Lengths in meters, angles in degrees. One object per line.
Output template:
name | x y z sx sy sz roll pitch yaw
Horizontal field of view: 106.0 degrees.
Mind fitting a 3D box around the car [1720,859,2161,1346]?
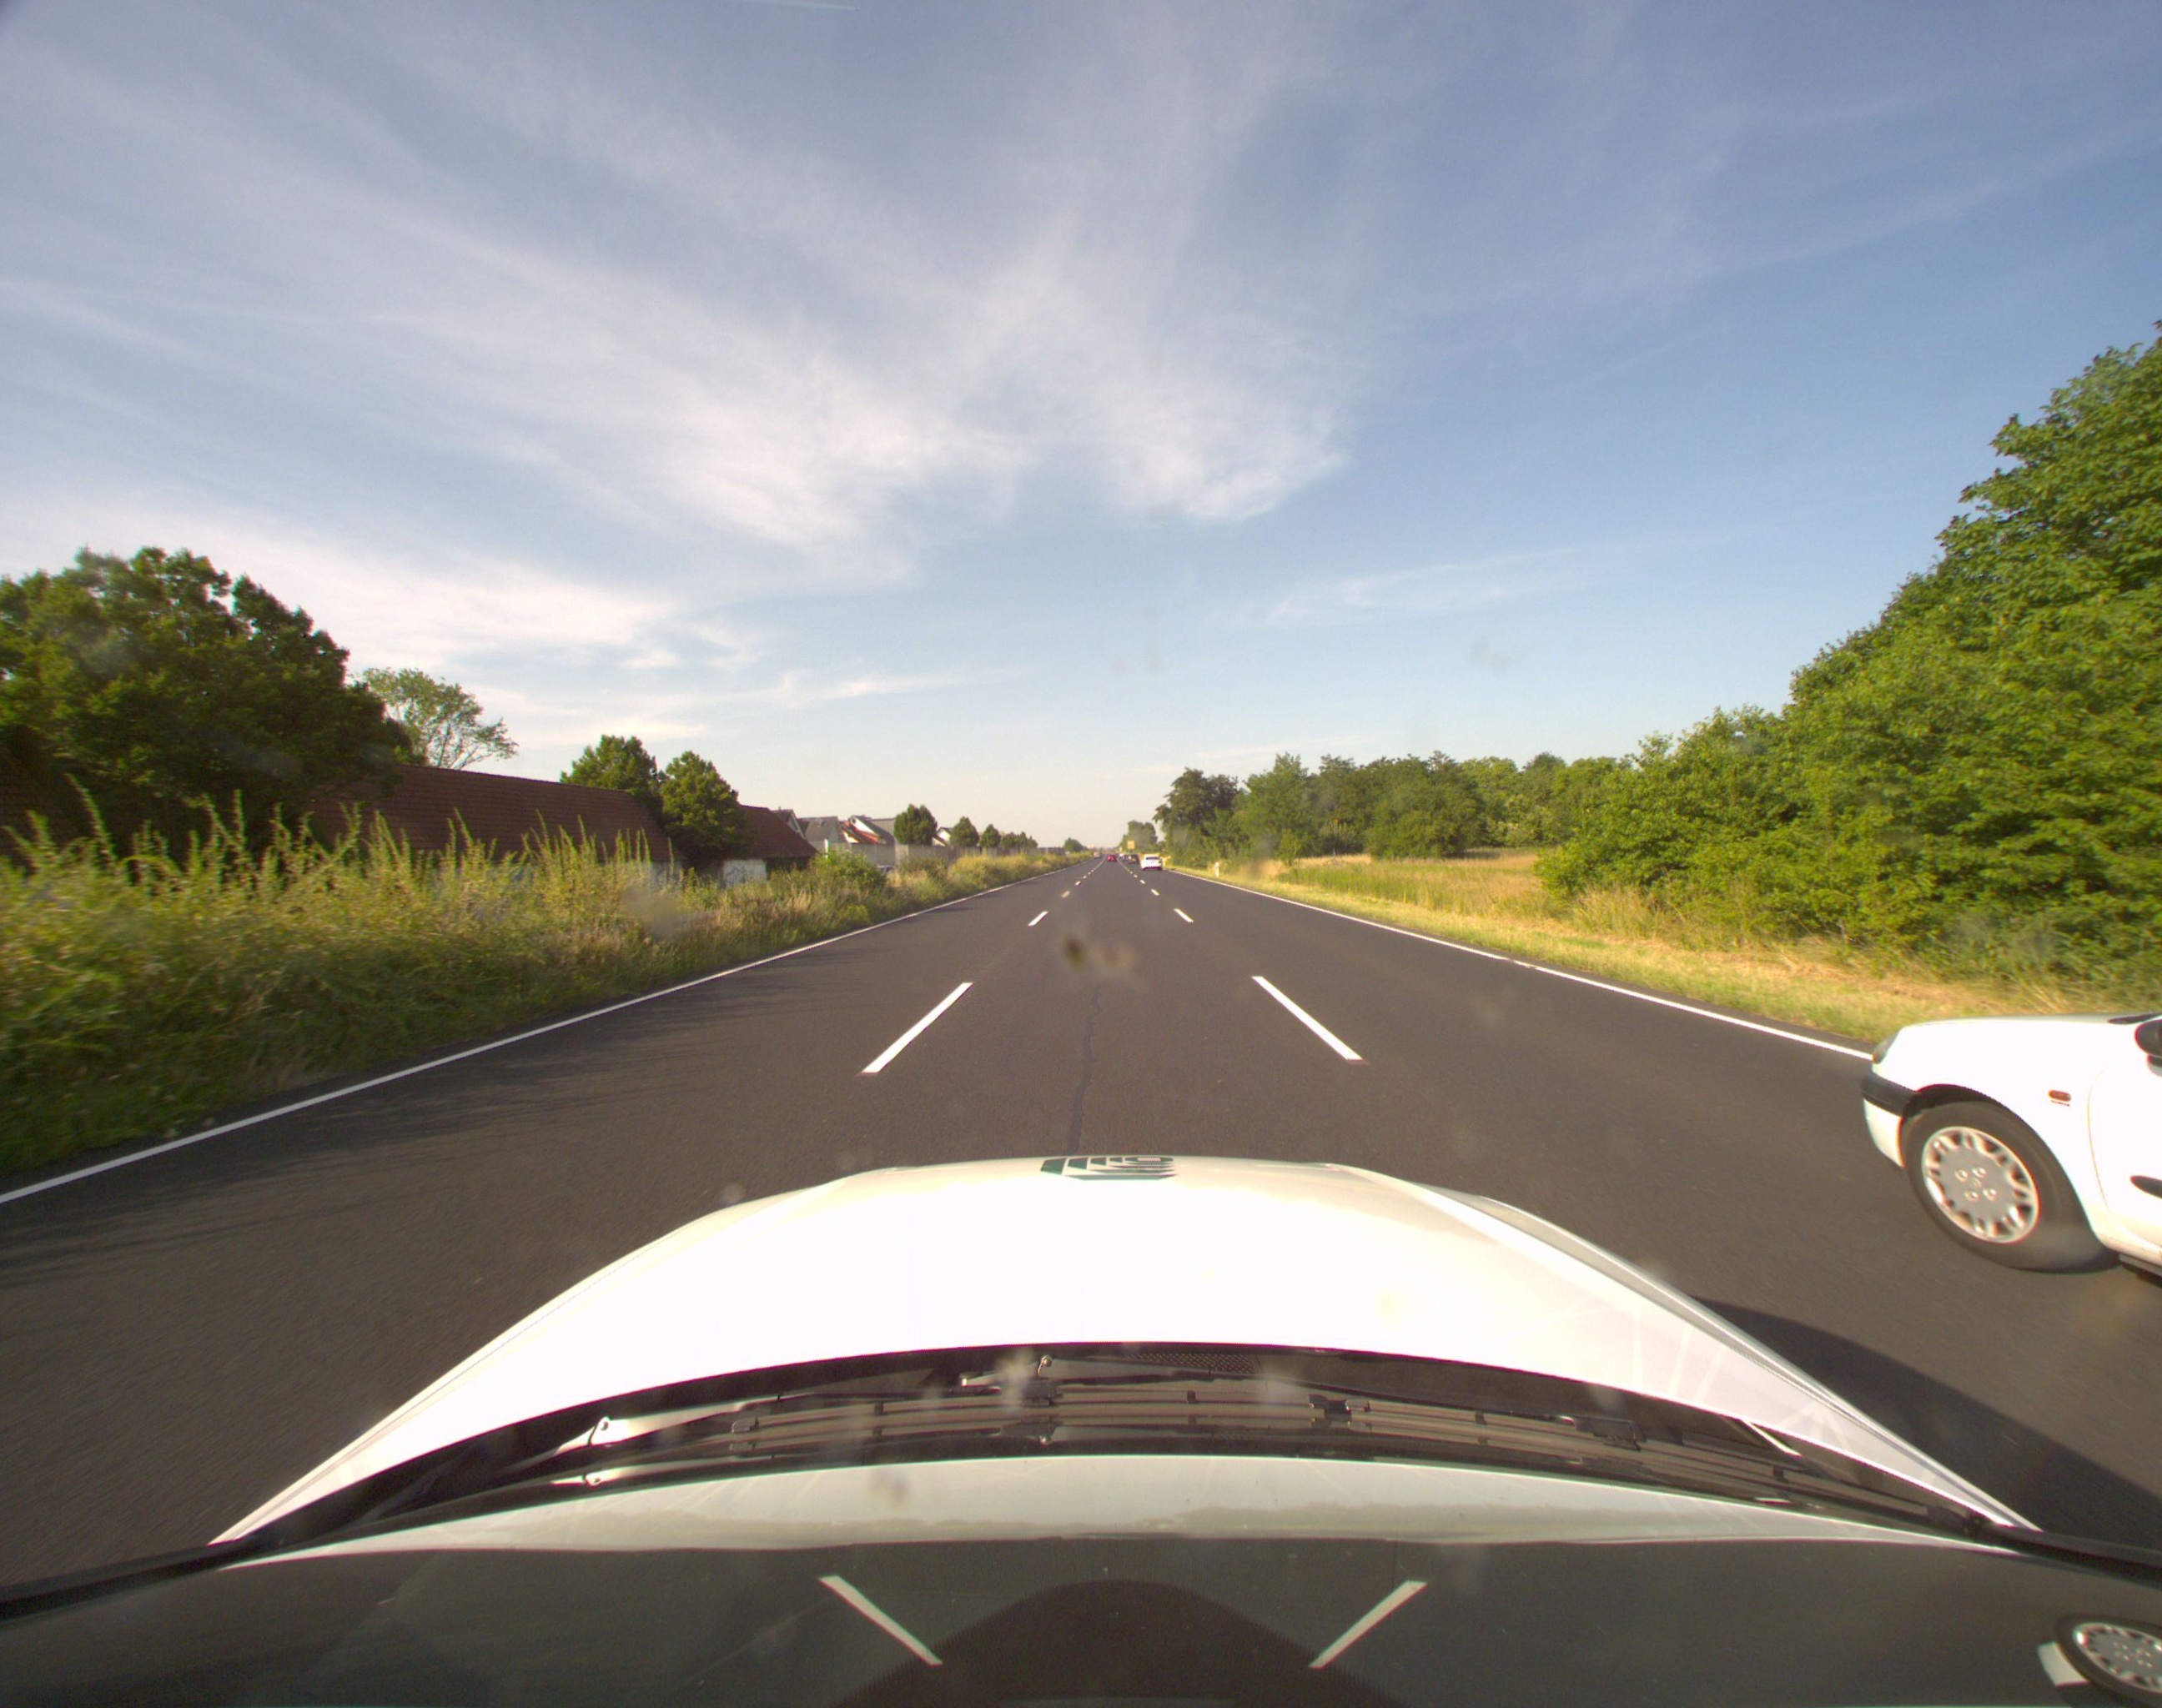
car | 3.935 0.720 2.041 1.611 1.387 3.952 -1 -1 1

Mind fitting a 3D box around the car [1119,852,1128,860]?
car | 9.009 0.486 172.159 1.827 1.717 3.864 -1 -1 2

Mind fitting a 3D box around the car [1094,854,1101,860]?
car | 4.610 0.817 230.097 1.986 1.717 4.002 -1 -1 2

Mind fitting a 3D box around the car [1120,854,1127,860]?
car | 12.693 1.045 242.456 1.840 1.750 4.002 -1 -1 2

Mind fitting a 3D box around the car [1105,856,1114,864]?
car | 5.532 1.148 158.070 1.805 1.436 3.859 -1 -1 1

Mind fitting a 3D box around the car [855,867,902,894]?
car | -12.381 1.610 50.053 1.682 1.508 4.187 -1 -1 2

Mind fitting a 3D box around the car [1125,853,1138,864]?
car | 7.937 0.760 128.171 1.821 1.728 4.001 -1 -1 2

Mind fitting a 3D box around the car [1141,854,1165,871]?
car | 6.662 0.771 75.586 1.986 1.516 4.002 -1 -1 2
